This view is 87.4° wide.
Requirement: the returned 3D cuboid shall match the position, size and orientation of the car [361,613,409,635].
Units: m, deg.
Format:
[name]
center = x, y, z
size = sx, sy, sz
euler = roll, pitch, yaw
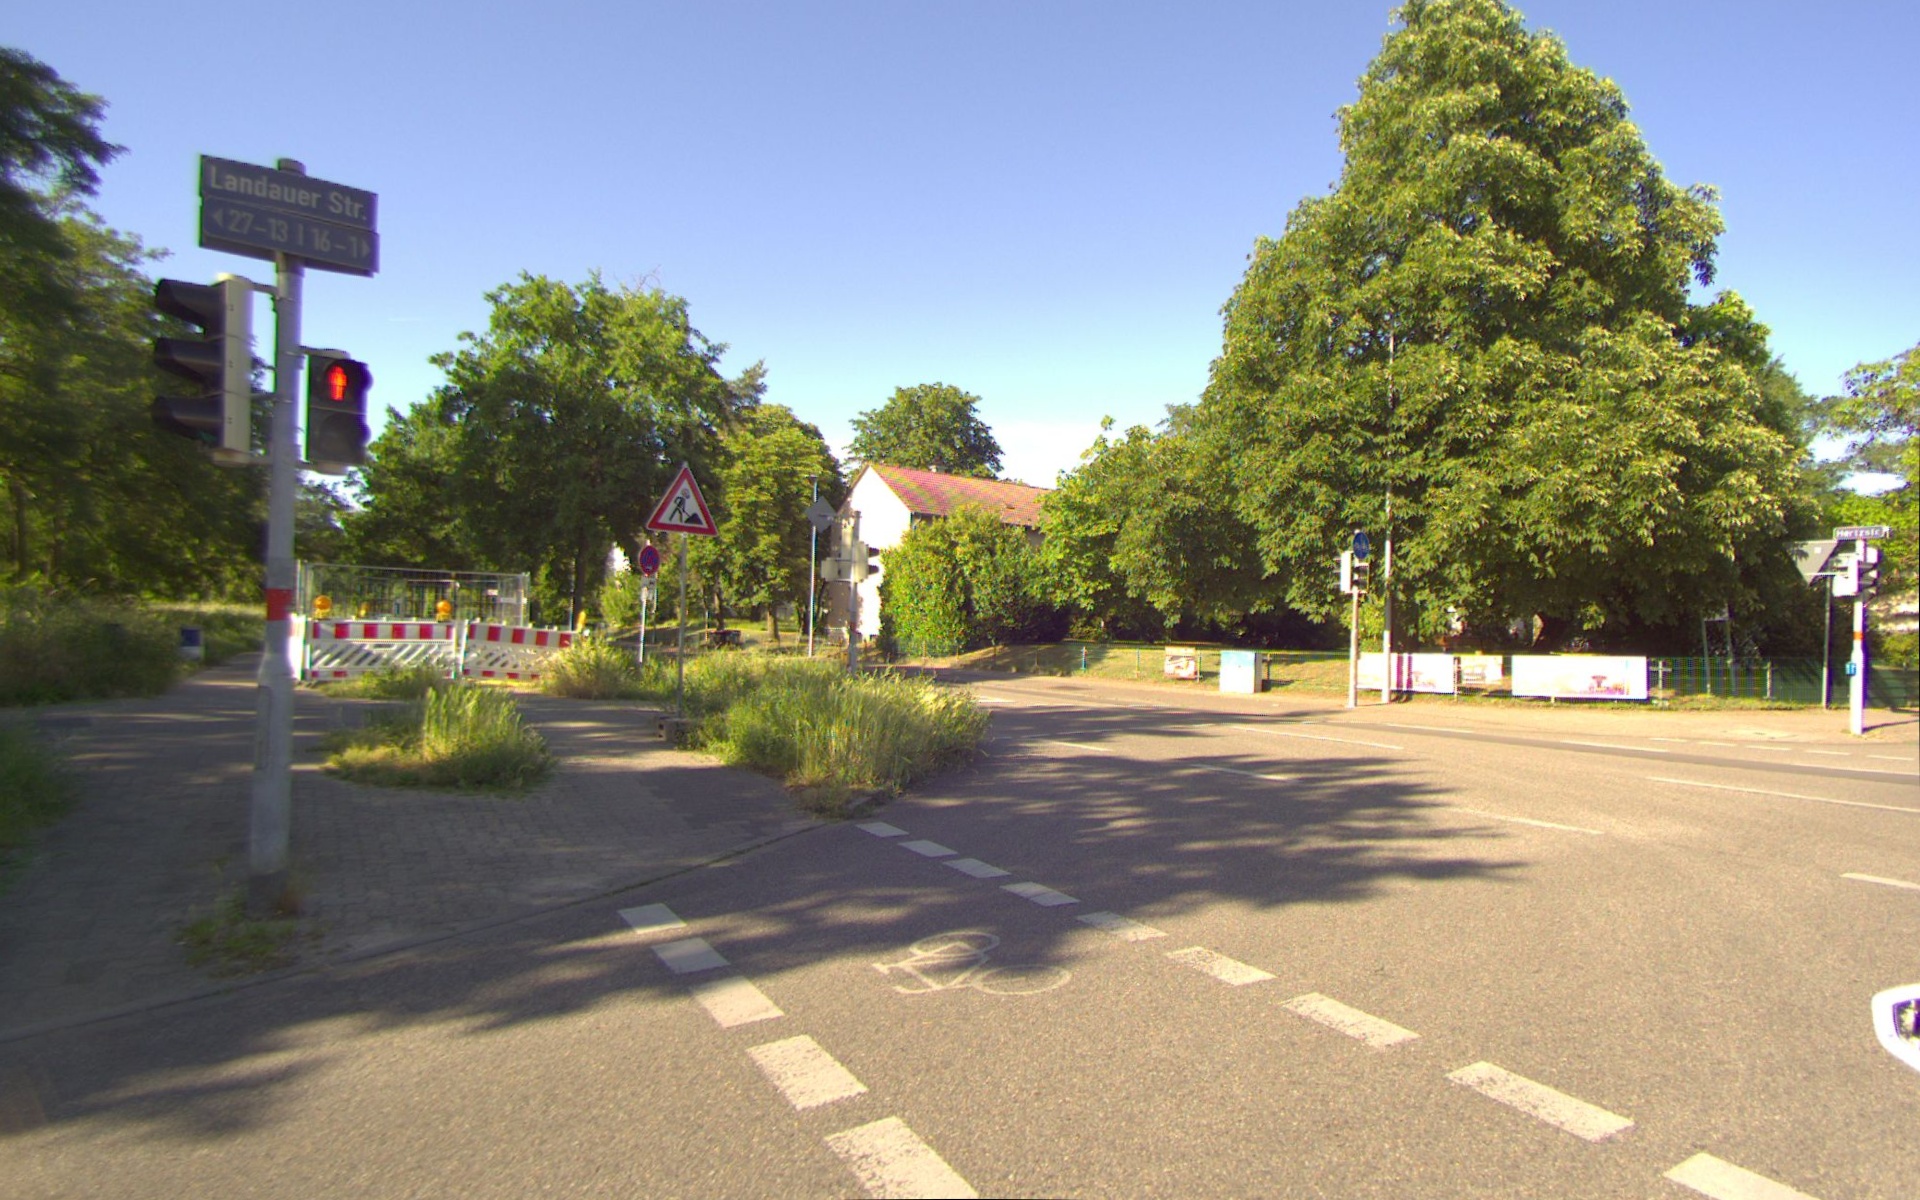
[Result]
[car]
center = -56.739, 2.375, 99.162
size = 3.959, 1.951, 1.981
euler = 2, 0, -34
